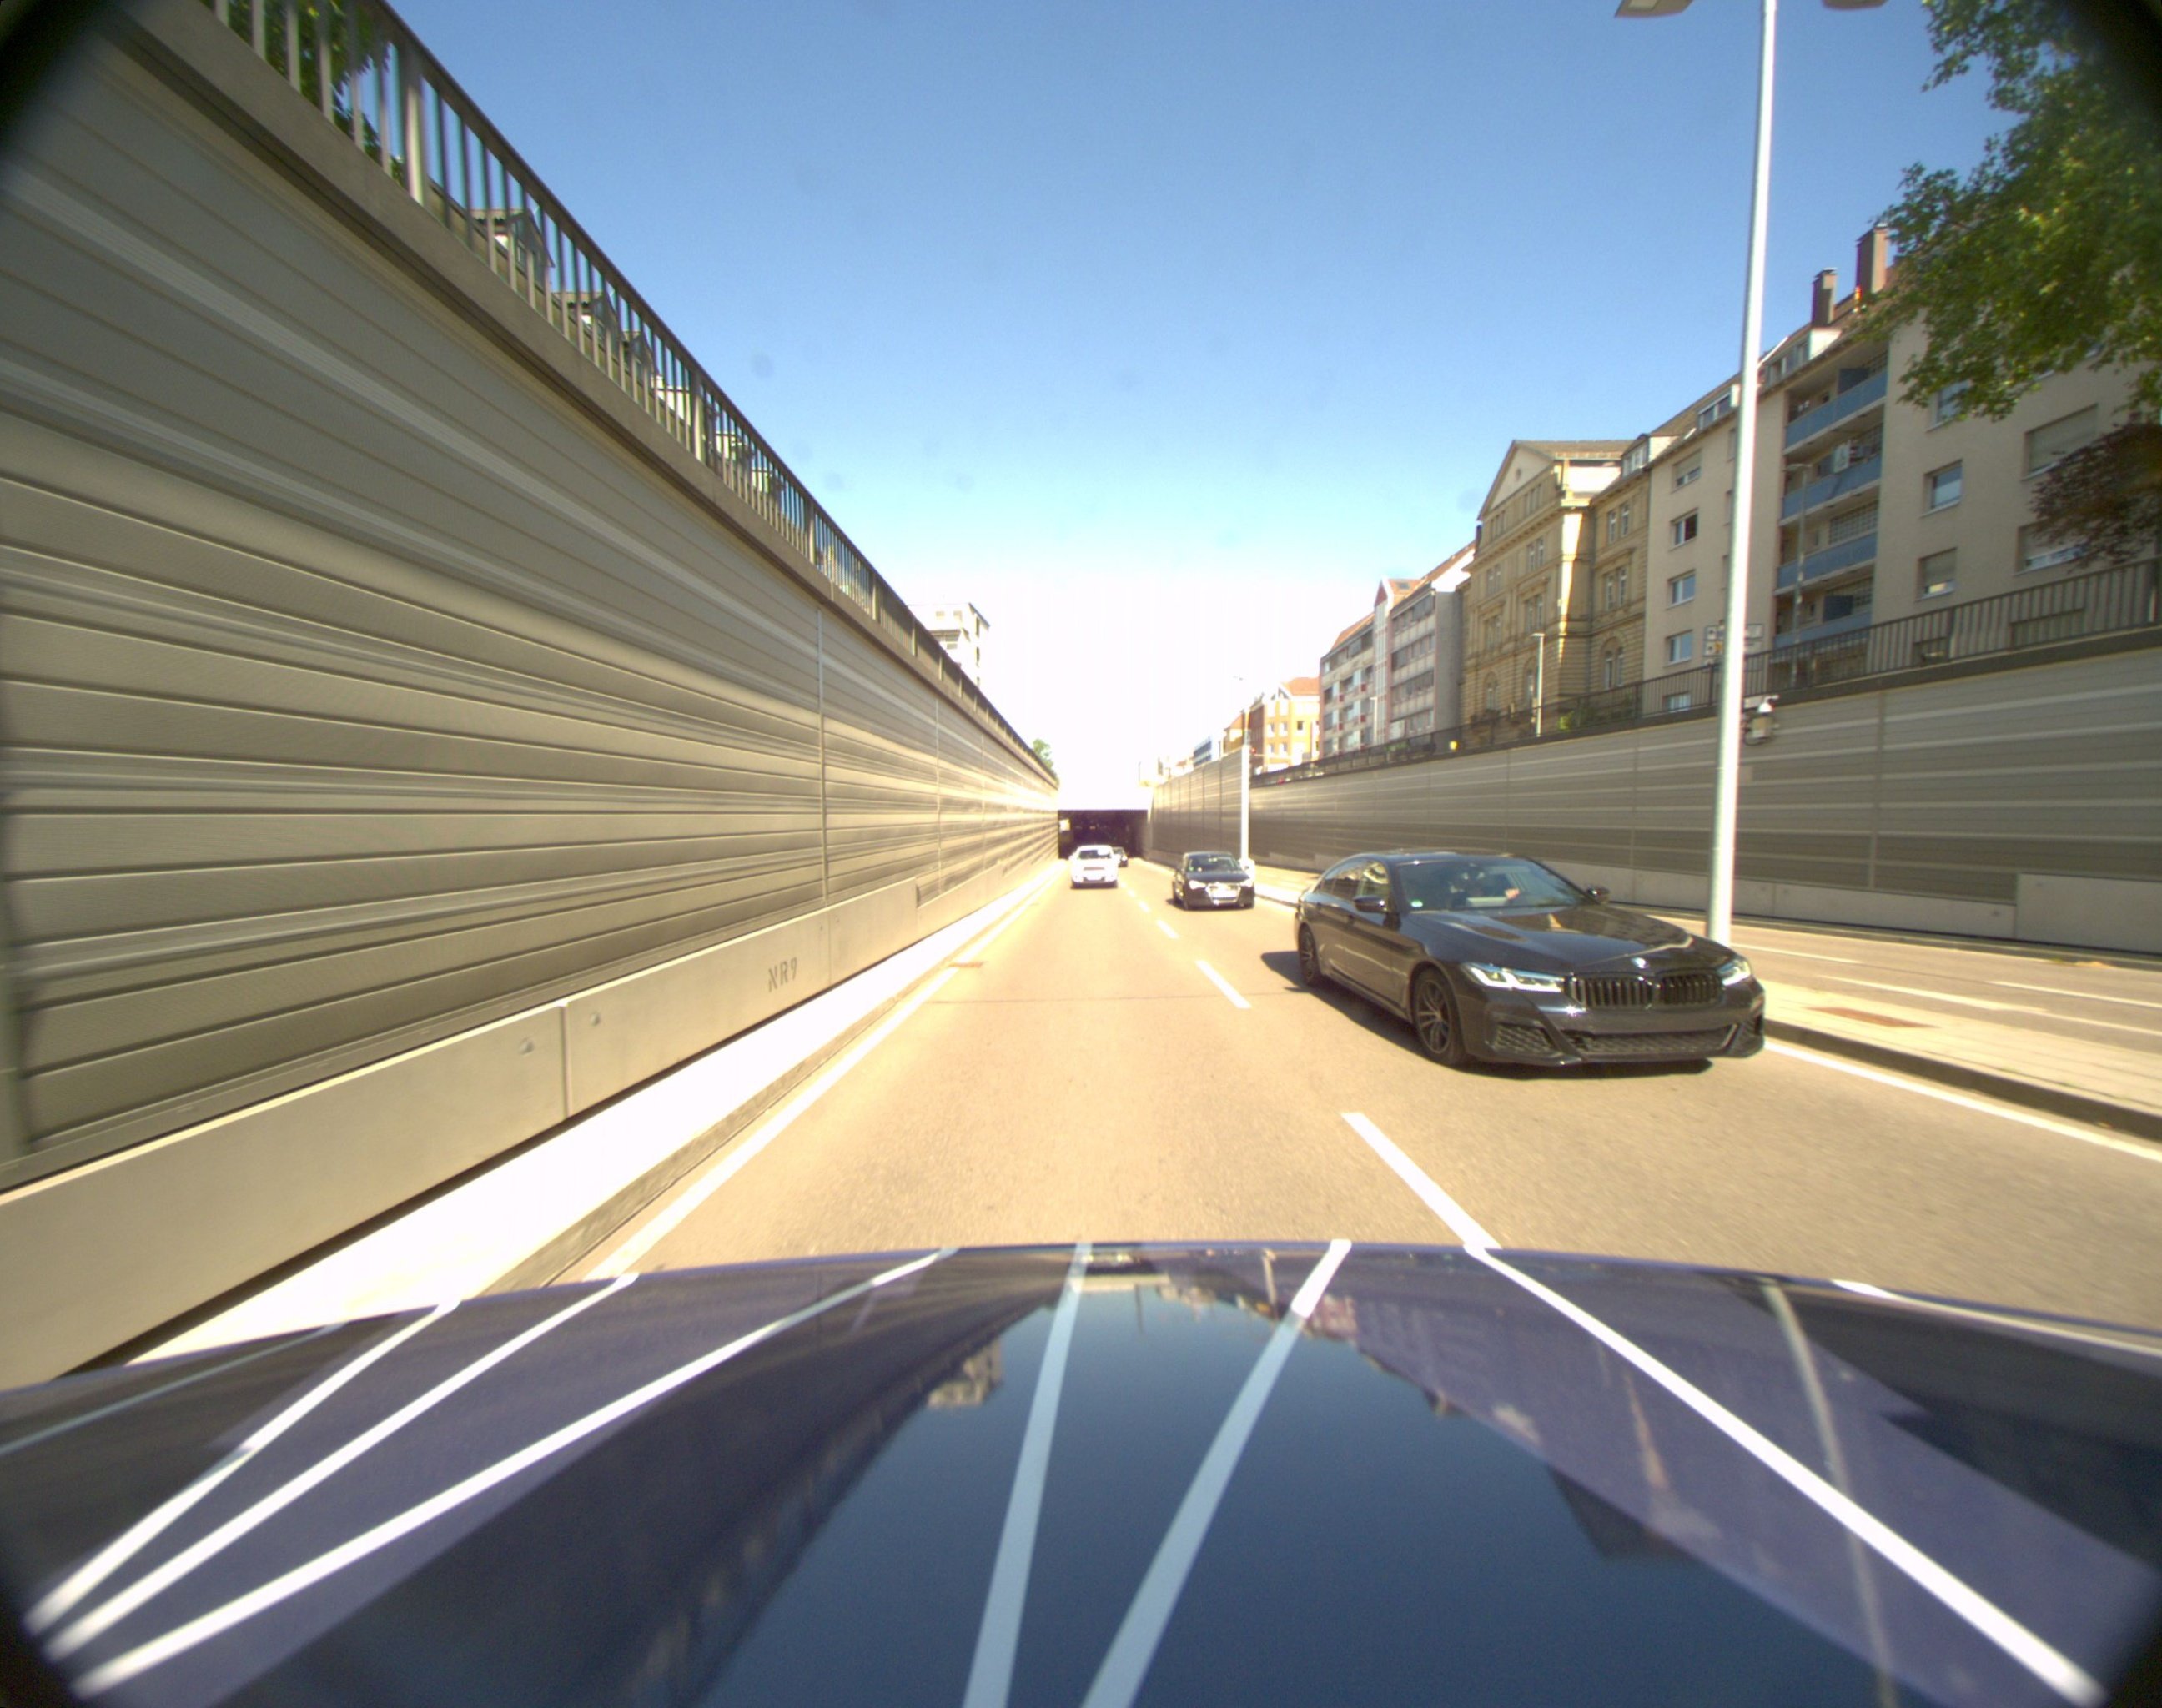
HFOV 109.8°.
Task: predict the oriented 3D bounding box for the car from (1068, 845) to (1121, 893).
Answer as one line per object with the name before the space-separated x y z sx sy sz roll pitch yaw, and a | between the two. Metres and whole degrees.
car | 0.524 0.519 29.521 1.855 1.658 3.969 -2 1 1

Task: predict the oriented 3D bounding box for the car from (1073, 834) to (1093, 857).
car | 0.184 -0.852 73.254 1.785 2.003 3.907 -2 3 0

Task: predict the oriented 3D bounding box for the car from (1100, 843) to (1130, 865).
car | 2.432 -0.020 55.627 1.998 1.408 3.999 -2 1 1

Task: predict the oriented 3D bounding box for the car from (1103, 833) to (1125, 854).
car | 3.486 -1.131 81.042 1.999 2.003 3.997 -2 3 -1

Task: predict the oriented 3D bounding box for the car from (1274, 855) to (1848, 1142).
car | 3.226 0.785 6.593 1.813 1.431 5.001 -2 1 0

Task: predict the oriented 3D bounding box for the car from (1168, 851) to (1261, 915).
car | 3.336 0.675 19.654 1.700 1.410 3.887 -2 1 0
